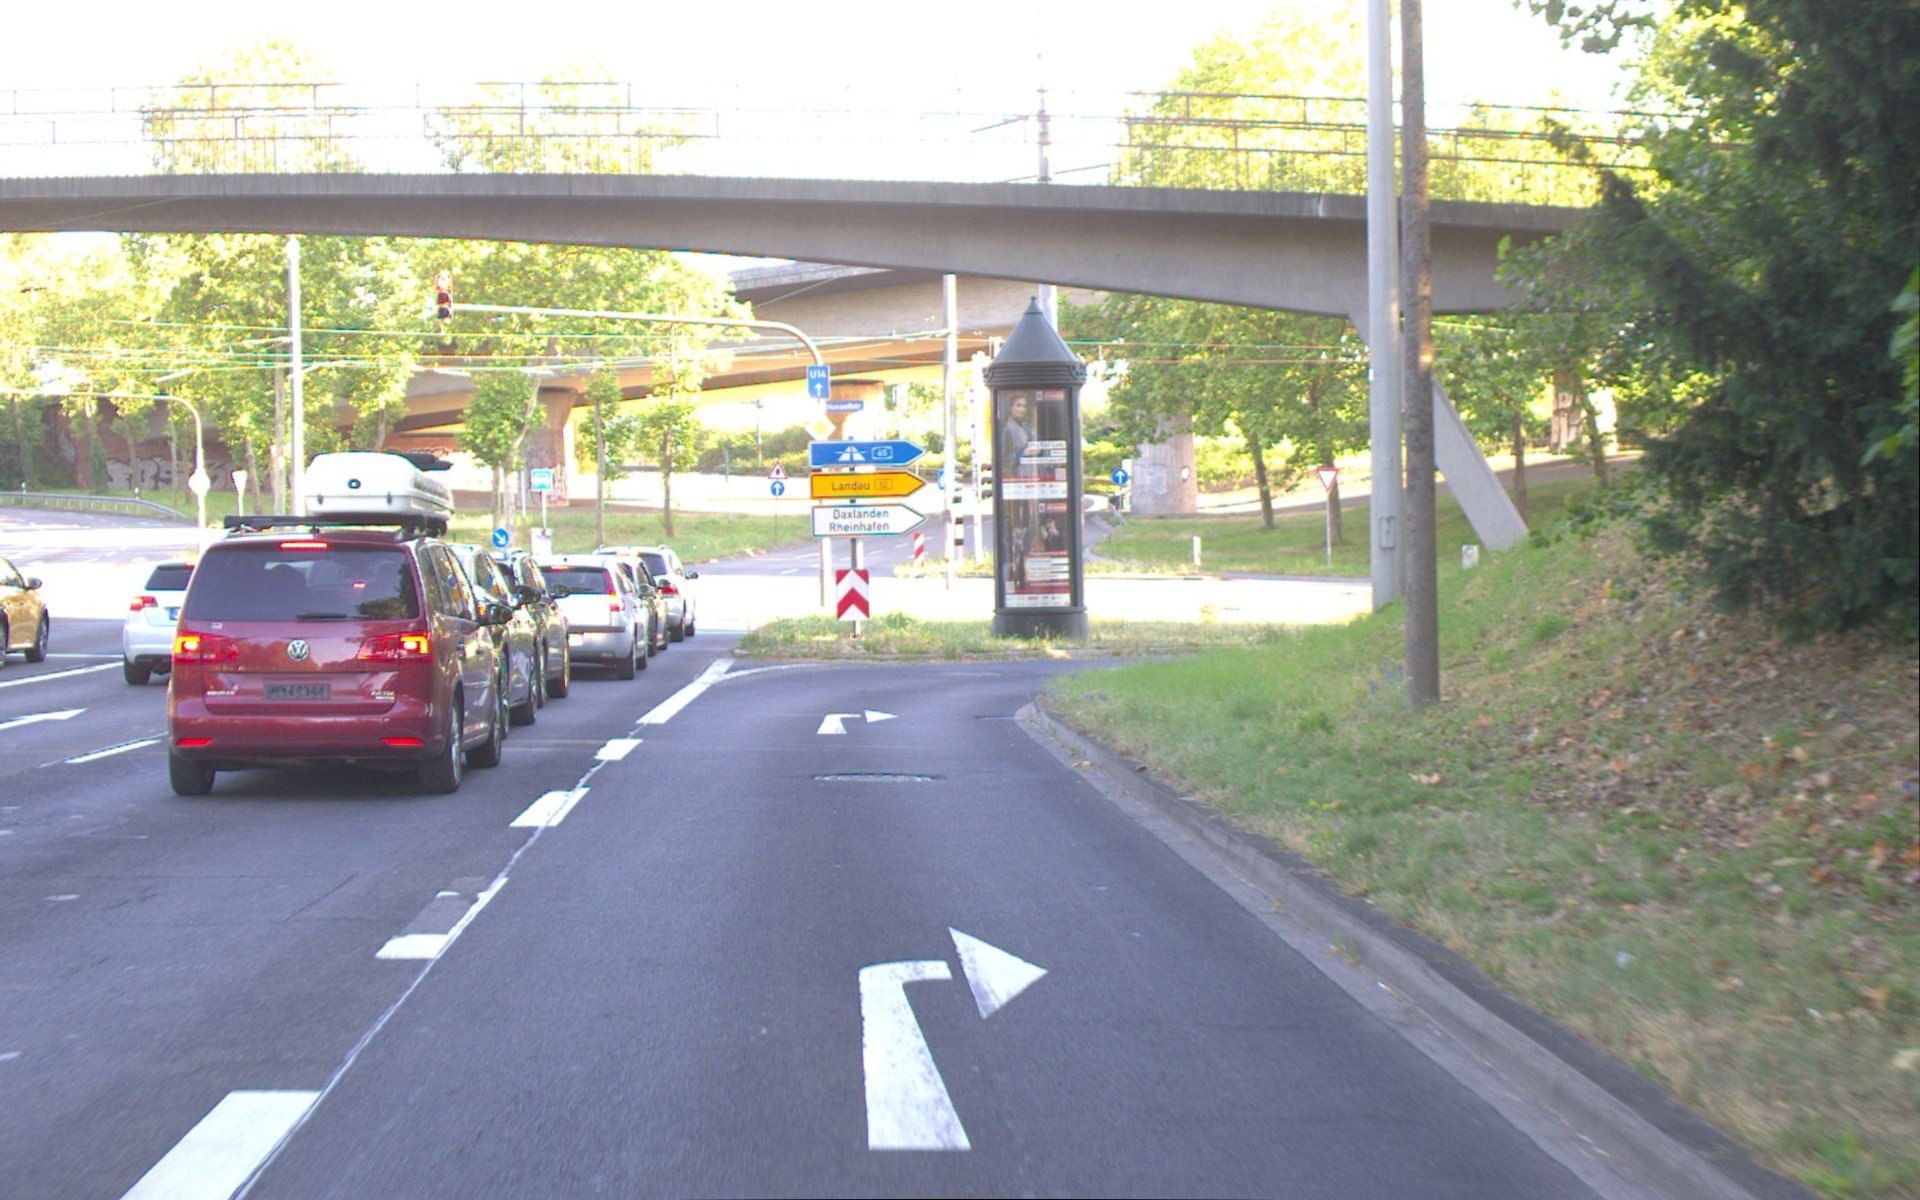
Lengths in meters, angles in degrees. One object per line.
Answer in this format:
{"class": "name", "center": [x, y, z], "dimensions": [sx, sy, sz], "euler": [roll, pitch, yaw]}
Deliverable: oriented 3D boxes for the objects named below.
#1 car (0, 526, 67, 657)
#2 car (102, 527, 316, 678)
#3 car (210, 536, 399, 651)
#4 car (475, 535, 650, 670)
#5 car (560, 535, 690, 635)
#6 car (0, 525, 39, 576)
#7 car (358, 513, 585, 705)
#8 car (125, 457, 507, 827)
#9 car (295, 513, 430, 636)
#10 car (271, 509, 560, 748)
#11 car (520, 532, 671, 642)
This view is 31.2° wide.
{"class": "car", "center": [-12.510, -0.105, 43.115], "dimensions": [1.662, 1.560, 4.001], "euler": [-3, 2, -2]}
{"class": "car", "center": [-8.666, -0.012, 39.971], "dimensions": [1.662, 1.560, 4.191], "euler": [-3, 2, -2]}
{"class": "car", "center": [-8.862, -0.123, 46.795], "dimensions": [1.741, 1.427, 4.412], "euler": [1, 2, 0]}
{"class": "car", "center": [-4.862, -0.007, 42.549], "dimensions": [1.792, 1.476, 4.001], "euler": [-3, 2, -2]}
{"class": "car", "center": [-5.345, -0.276, 55.299], "dimensions": [1.792, 1.437, 4.001], "euler": [-3, 2, -2]}
{"class": "car", "center": [-34.793, -1.814, 124.783], "dimensions": [1.878, 1.765, 4.001], "euler": [0, 2, -4]}
{"class": "car", "center": [-4.868, 0.035, 34.746], "dimensions": [1.792, 1.744, 4.001], "euler": [-3, 2, -2]}
{"class": "car", "center": [-4.039, 0.188, 22.189], "dimensions": [1.792, 2.098, 4.001], "euler": [-3, 2, -3]}
{"class": "car", "center": [-9.403, -0.446, 54.409], "dimensions": [1.792, 1.786, 4.828], "euler": [-3, 2, -7]}
{"class": "car", "center": [-4.402, 0.162, 28.368], "dimensions": [1.792, 1.744, 4.242], "euler": [-3, 2, -2]}
{"class": "car", "center": [-5.133, -0.218, 48.885], "dimensions": [1.792, 1.378, 4.477], "euler": [-3, 2, -2]}
